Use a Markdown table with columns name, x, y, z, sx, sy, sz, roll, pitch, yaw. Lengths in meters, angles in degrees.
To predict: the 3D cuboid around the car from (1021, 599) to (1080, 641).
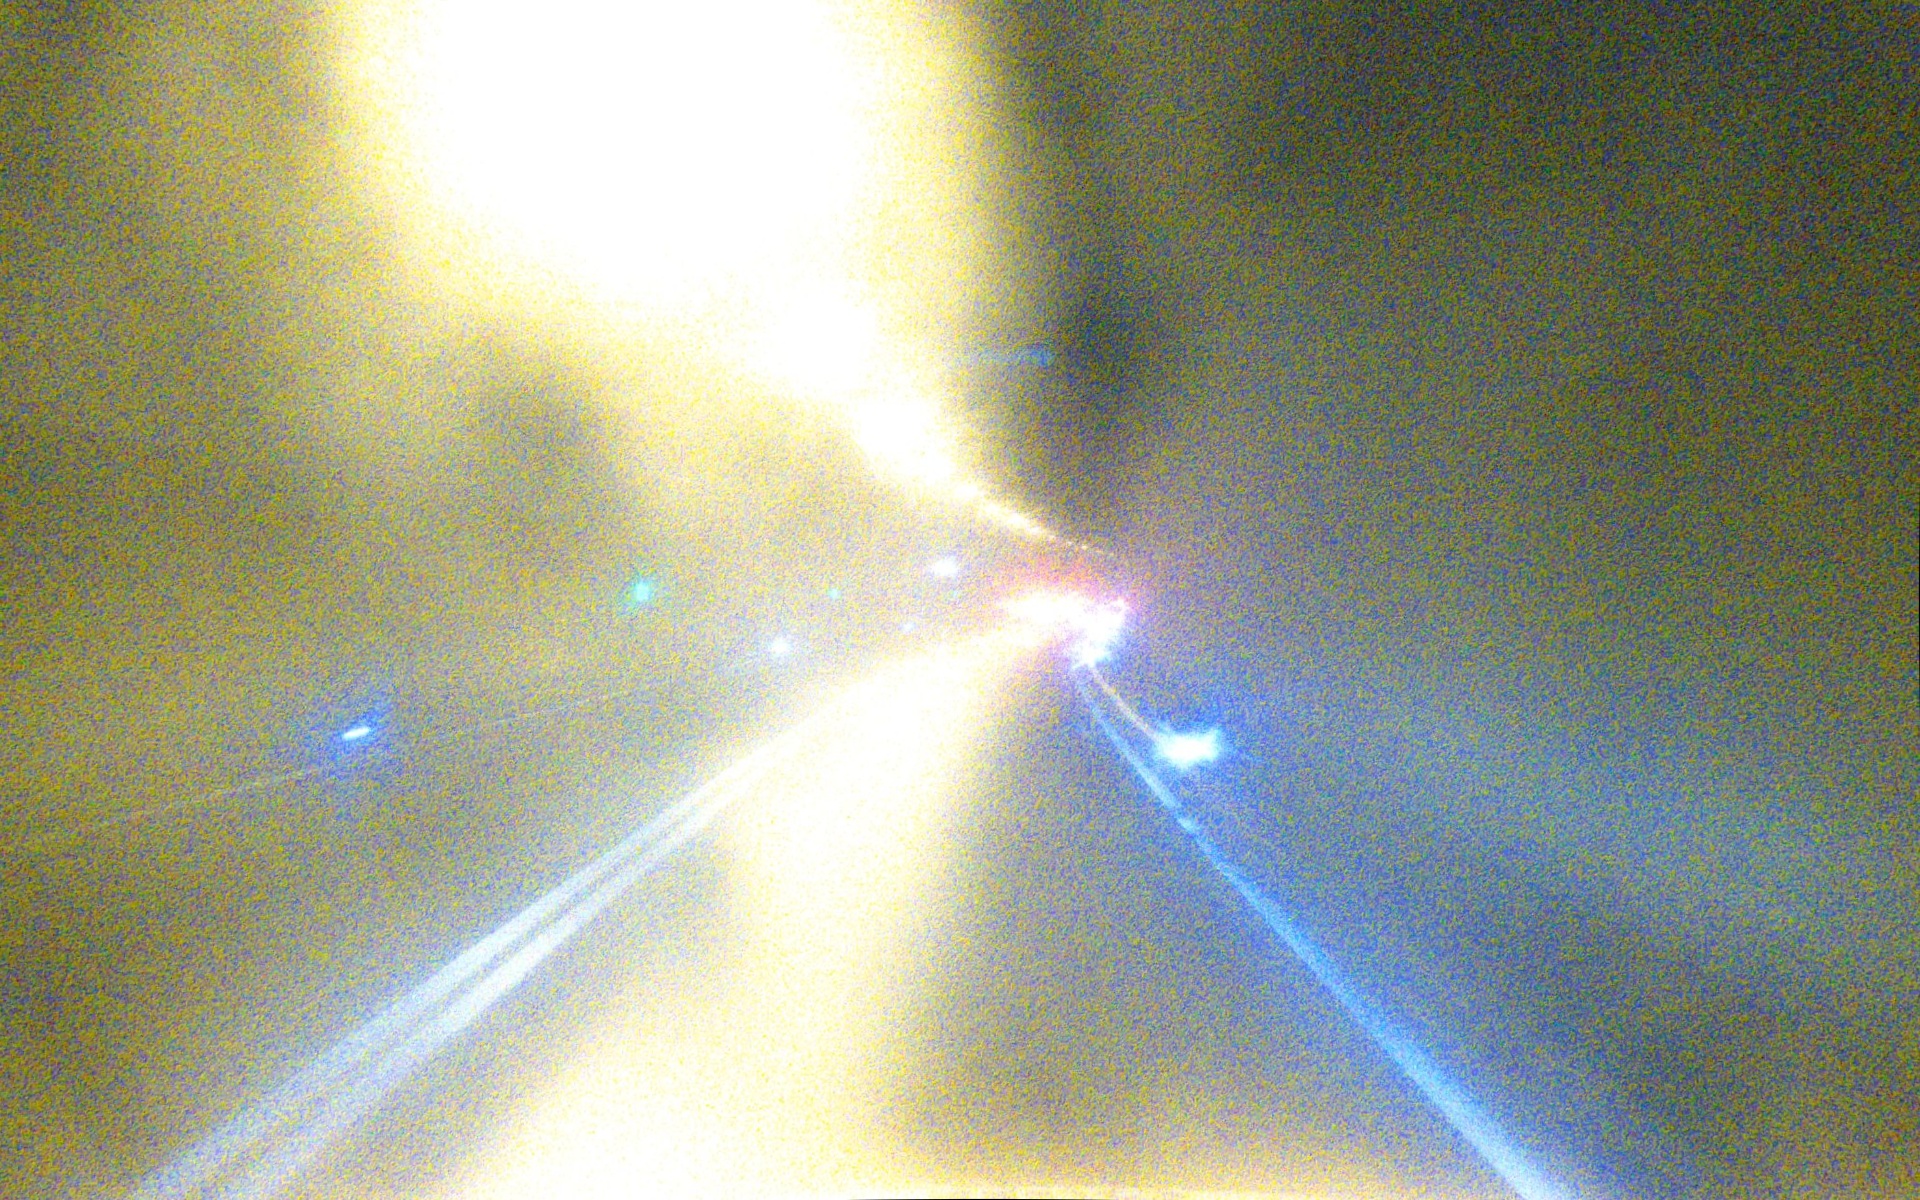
| name | x | y | z | sx | sy | sz | roll | pitch | yaw |
| --- | --- | --- | --- | --- | --- | --- | --- | --- | --- |
| car | 3.941 | 0.882 | 71.394 | 2.045 | 1.691 | 4.003 | 2 | -1 | 10 |
